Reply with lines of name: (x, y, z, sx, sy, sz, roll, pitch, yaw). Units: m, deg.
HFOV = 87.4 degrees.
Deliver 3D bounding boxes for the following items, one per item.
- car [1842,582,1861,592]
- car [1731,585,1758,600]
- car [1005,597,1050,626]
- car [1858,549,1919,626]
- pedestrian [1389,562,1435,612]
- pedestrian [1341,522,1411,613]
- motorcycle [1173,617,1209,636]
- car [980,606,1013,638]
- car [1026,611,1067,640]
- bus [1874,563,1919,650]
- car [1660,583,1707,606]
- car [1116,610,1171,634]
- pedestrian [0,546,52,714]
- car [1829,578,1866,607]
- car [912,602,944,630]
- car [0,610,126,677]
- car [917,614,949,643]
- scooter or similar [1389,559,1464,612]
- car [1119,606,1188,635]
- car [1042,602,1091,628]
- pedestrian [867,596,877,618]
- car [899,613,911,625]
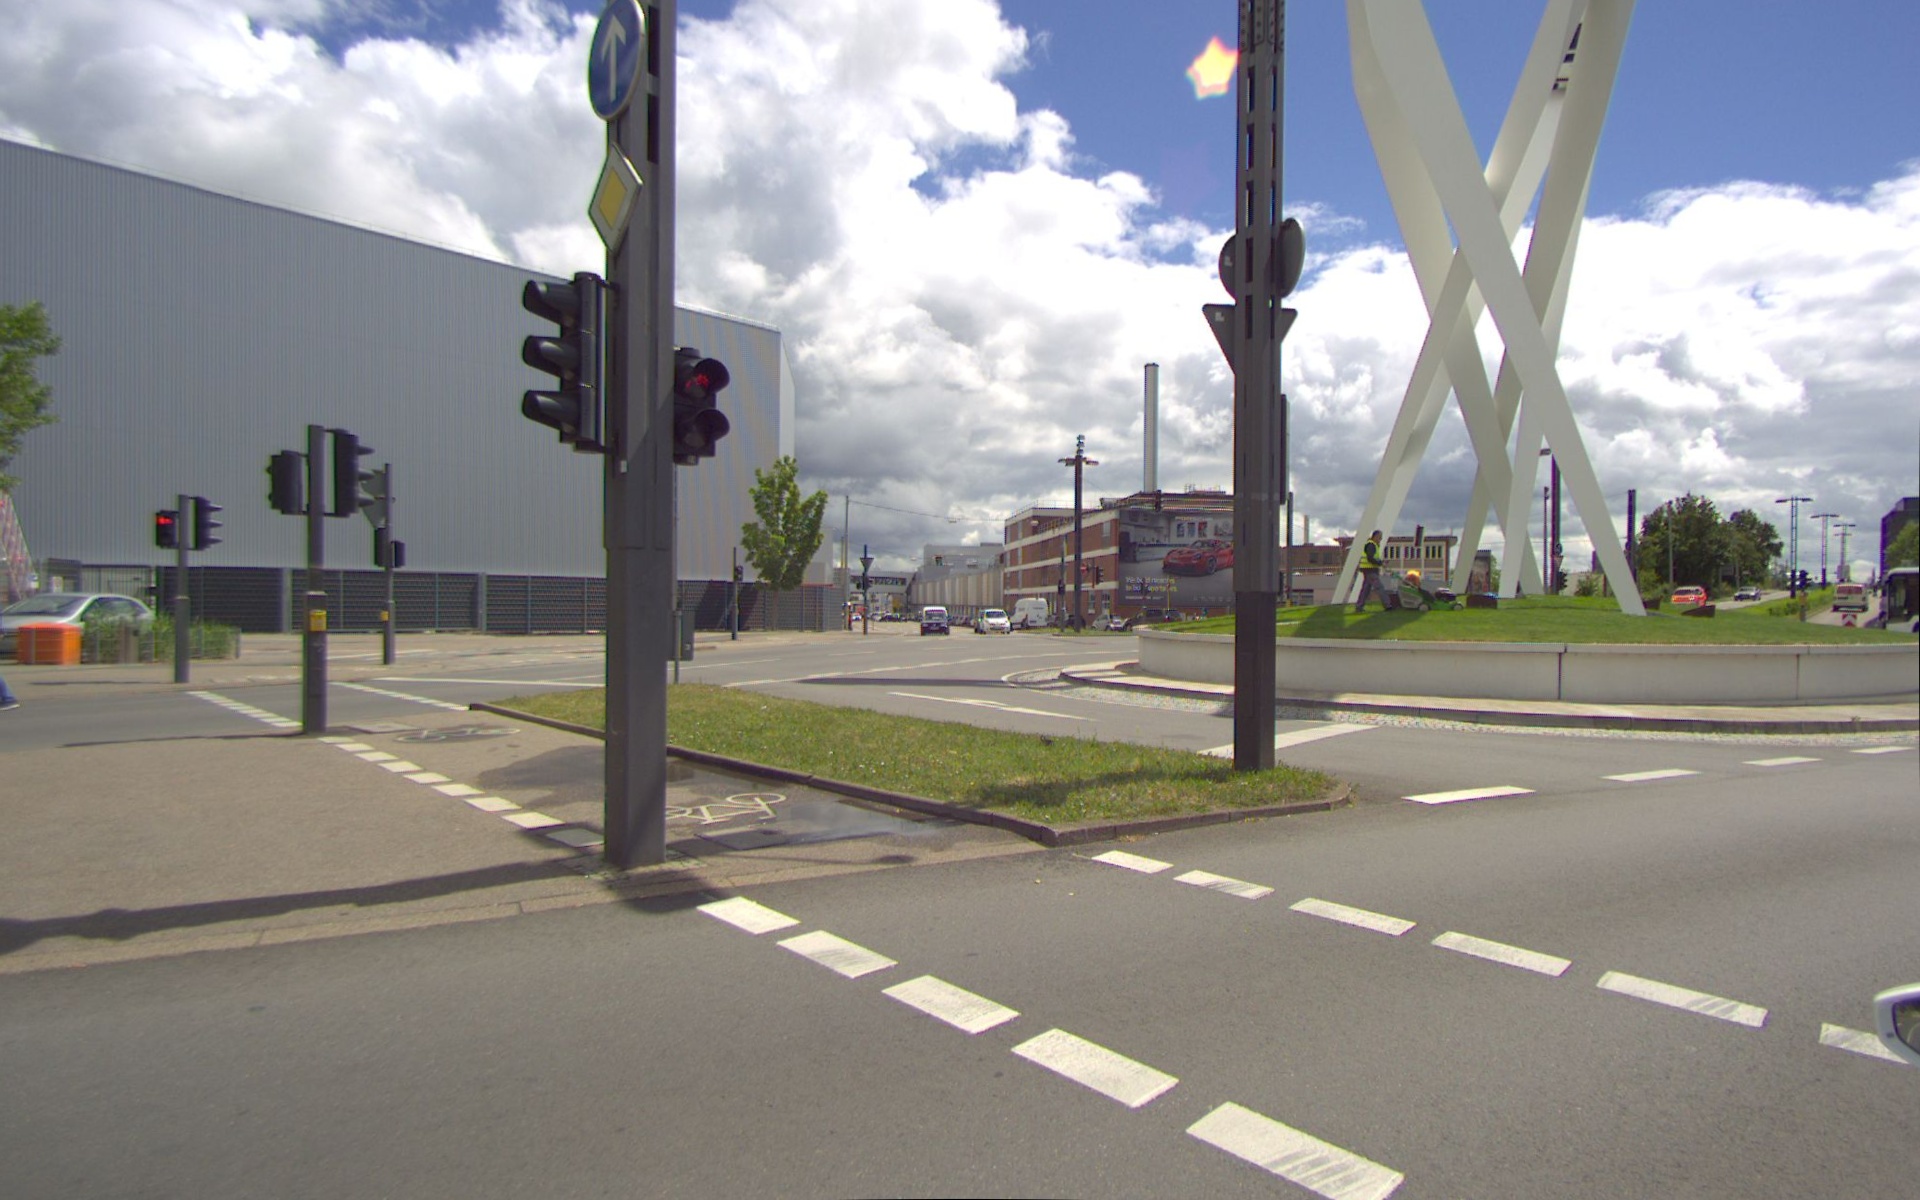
car: (146.575, -2.173, 165.119, 1.973, 1.658, 4.625, 3, 2, 45)
car: (84.775, -0.821, 108.519, 1.737, 1.417, 4.643, 3, 3, 44)
car: (5.438, 0.922, 81.523, 1.969, 2.199, 4.636, 2, 0, -18)
car: (49.132, -0.495, 51.025, 3.287, 3.550, 9.323, 2, 0, 30)
pedestrian: (14.212, -0.391, 31.622, 0.952, 1.424, 0.851, 2, -6, -24)
pedestrian: (8.852, -0.689, 21.376, 1.262, 1.841, 0.985, -1, 3, 28)
motorcycle: (17.079, 1.949, 74.452, 0.909, 1.211, 2.892, 2, 0, -27)
car: (2.234, 1.297, 61.658, 1.874, 1.820, 3.776, 2, 0, 2)
car: (5.354, 1.544, 62.351, 1.961, 1.598, 3.998, 2, 0, -3)
bus: (37.903, 0.278, 35.968, 3.021, 3.407, 12.223, 2, 0, 20)
car: (64.499, -0.480, 89.558, 4.788, 2.010, 1.980, 0, 0, -35)
car: (13.586, 1.616, 74.572, 1.974, 1.520, 3.974, 2, 0, -26)
pedestrian: (-12.322, 0.355, 12.727, 0.939, 2.082, 0.948, 2, 0, -27)
car: (65.164, -0.555, 73.771, 1.971, 1.929, 3.979, 3, 0, 41)
car: (-2.098, 1.025, 65.846, 1.961, 1.645, 4.289, 2, 0, -3)
car: (-20.437, 0.909, 22.221, 1.694, 1.377, 3.984, 0, -1, -18)
car: (-1.581, 1.681, 60.457, 1.768, 1.577, 3.958, 2, 0, 0)
scooter or similar: (9.731, -0.321, 20.995, 1.378, 1.040, 0.549, 1, 6, 25)
car: (12.436, 1.292, 64.687, 1.985, 1.658, 3.950, 2, 0, -42)
car: (8.742, 1.220, 83.214, 2.177, 1.882, 4.494, 2, 0, -21)
pedestrian: (-7.350, 0.594, 83.726, 0.737, 1.795, 0.824, 2, 0, -10)
car: (-10.573, 3.604, 193.098, 1.963, 2.199, 4.650, 2, 0, -6)
